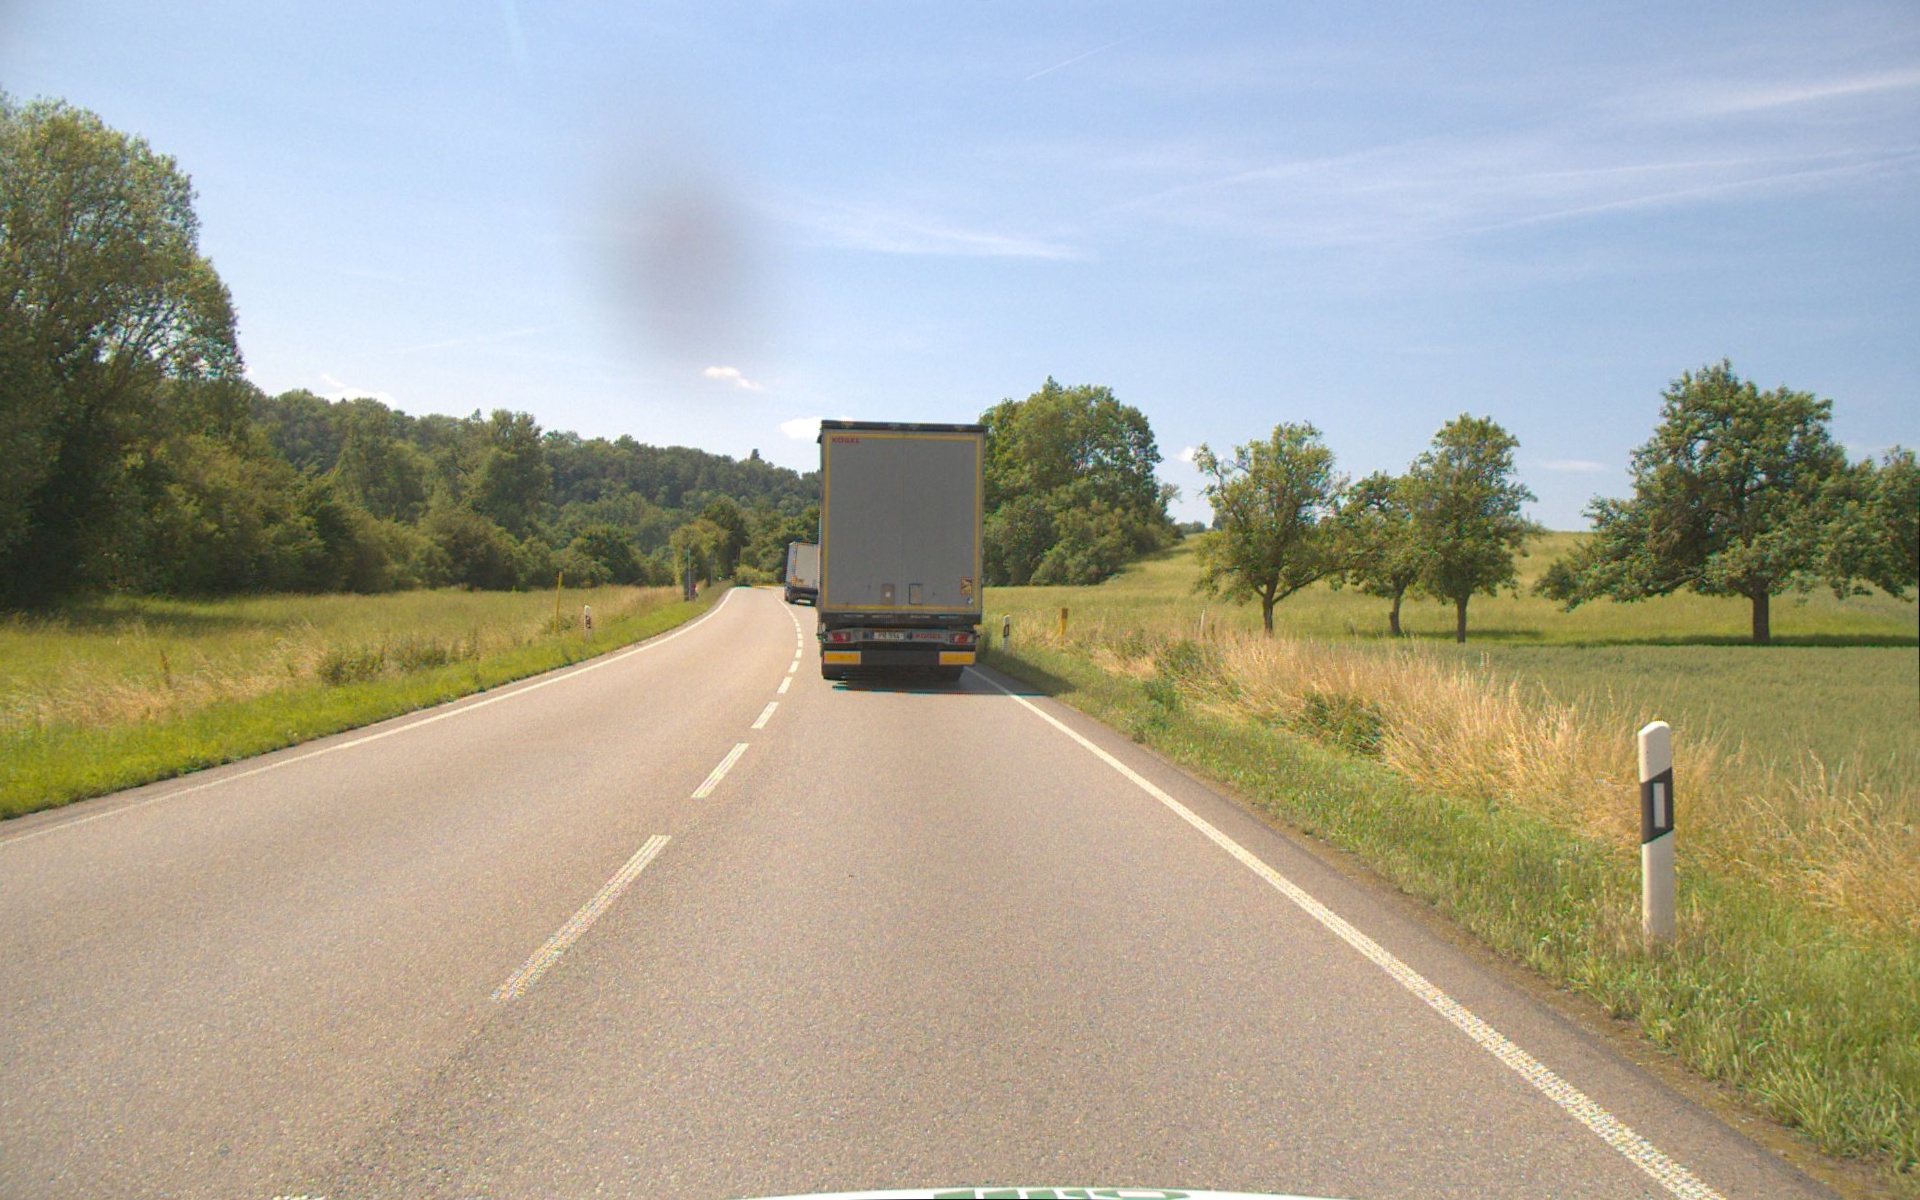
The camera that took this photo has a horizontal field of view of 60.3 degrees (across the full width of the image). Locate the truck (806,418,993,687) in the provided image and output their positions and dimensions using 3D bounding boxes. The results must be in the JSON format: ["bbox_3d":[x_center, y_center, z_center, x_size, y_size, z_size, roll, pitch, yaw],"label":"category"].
[{"bbox_3d":[-1.324,-0.765,29.852,2.753,4.015,9.581,1,0,-5],"label":"truck"}]

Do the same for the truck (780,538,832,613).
[{"bbox_3d":[-10.739,-1.571,114.035,2.905,4.664,16.290,3,0,-7],"label":"truck"}]
